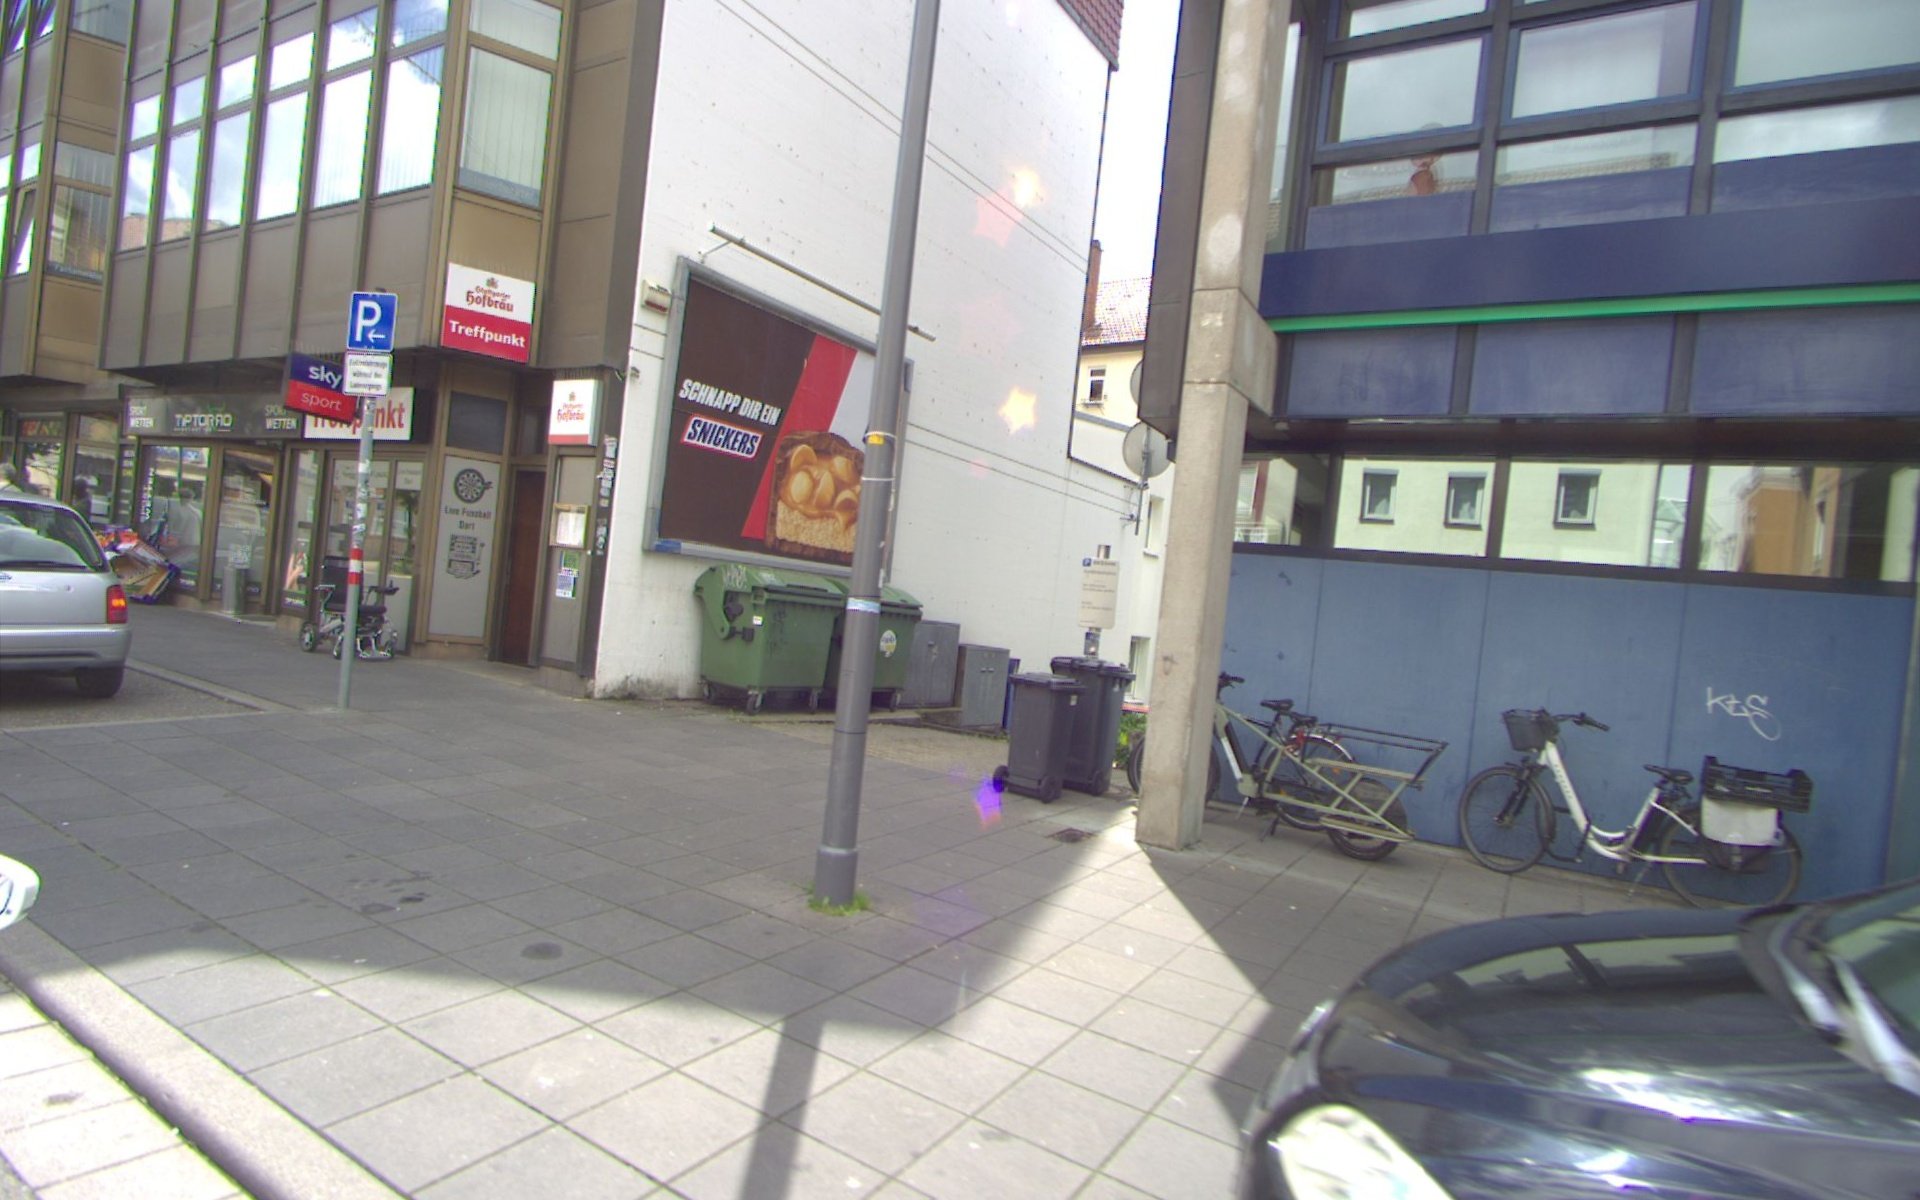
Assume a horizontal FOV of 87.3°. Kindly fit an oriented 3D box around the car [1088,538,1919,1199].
[{"bbox_3d":[2.197,0.907,1.168,3.733,1.552,1.610,7,1,33],"label":"car"}]

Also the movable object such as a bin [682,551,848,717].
[{"bbox_3d":[-1.996,0.367,10.390,1.015,1.546,1.143,6,-1,34],"label":"movable object such as a bin"}]

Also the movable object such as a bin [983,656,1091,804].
[{"bbox_3d":[0.591,0.972,7.636,0.545,1.011,0.487,6,-1,34],"label":"movable object such as a bin"}]

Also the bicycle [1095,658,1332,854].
[{"bbox_3d":[1.782,1.062,7.196,1.477,1.095,0.425,7,2,34],"label":"bicycle"}]

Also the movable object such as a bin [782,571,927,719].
[{"bbox_3d":[-1.199,0.532,11.602,1.015,1.546,1.143,6,-1,34],"label":"movable object such as a bin"}]

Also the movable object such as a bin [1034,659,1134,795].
[{"bbox_3d":[1.013,1.025,8.208,0.545,1.011,0.487,6,-1,34],"label":"movable object such as a bin"}]

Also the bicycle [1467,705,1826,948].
[{"bbox_3d":[4.210,1.342,6.304,1.713,1.132,0.426,6,-1,34],"label":"bicycle"}]

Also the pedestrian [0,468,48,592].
[{"bbox_3d":[-13.905,-1.027,14.537,0.635,1.726,0.658,7,-1,9],"label":"pedestrian"}]

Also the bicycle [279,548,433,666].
[{"bbox_3d":[-6.383,0.067,10.621,1.452,1.060,0.721,6,-1,32],"label":"bicycle"}]

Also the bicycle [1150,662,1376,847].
[{"bbox_3d":[2.272,1.126,7.628,1.478,1.132,0.426,6,-1,34],"label":"bicycle"}]

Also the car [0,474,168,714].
[{"bbox_3d":[-7.590,-0.209,7.424,3.733,1.515,1.608,7,3,33],"label":"car"}]
